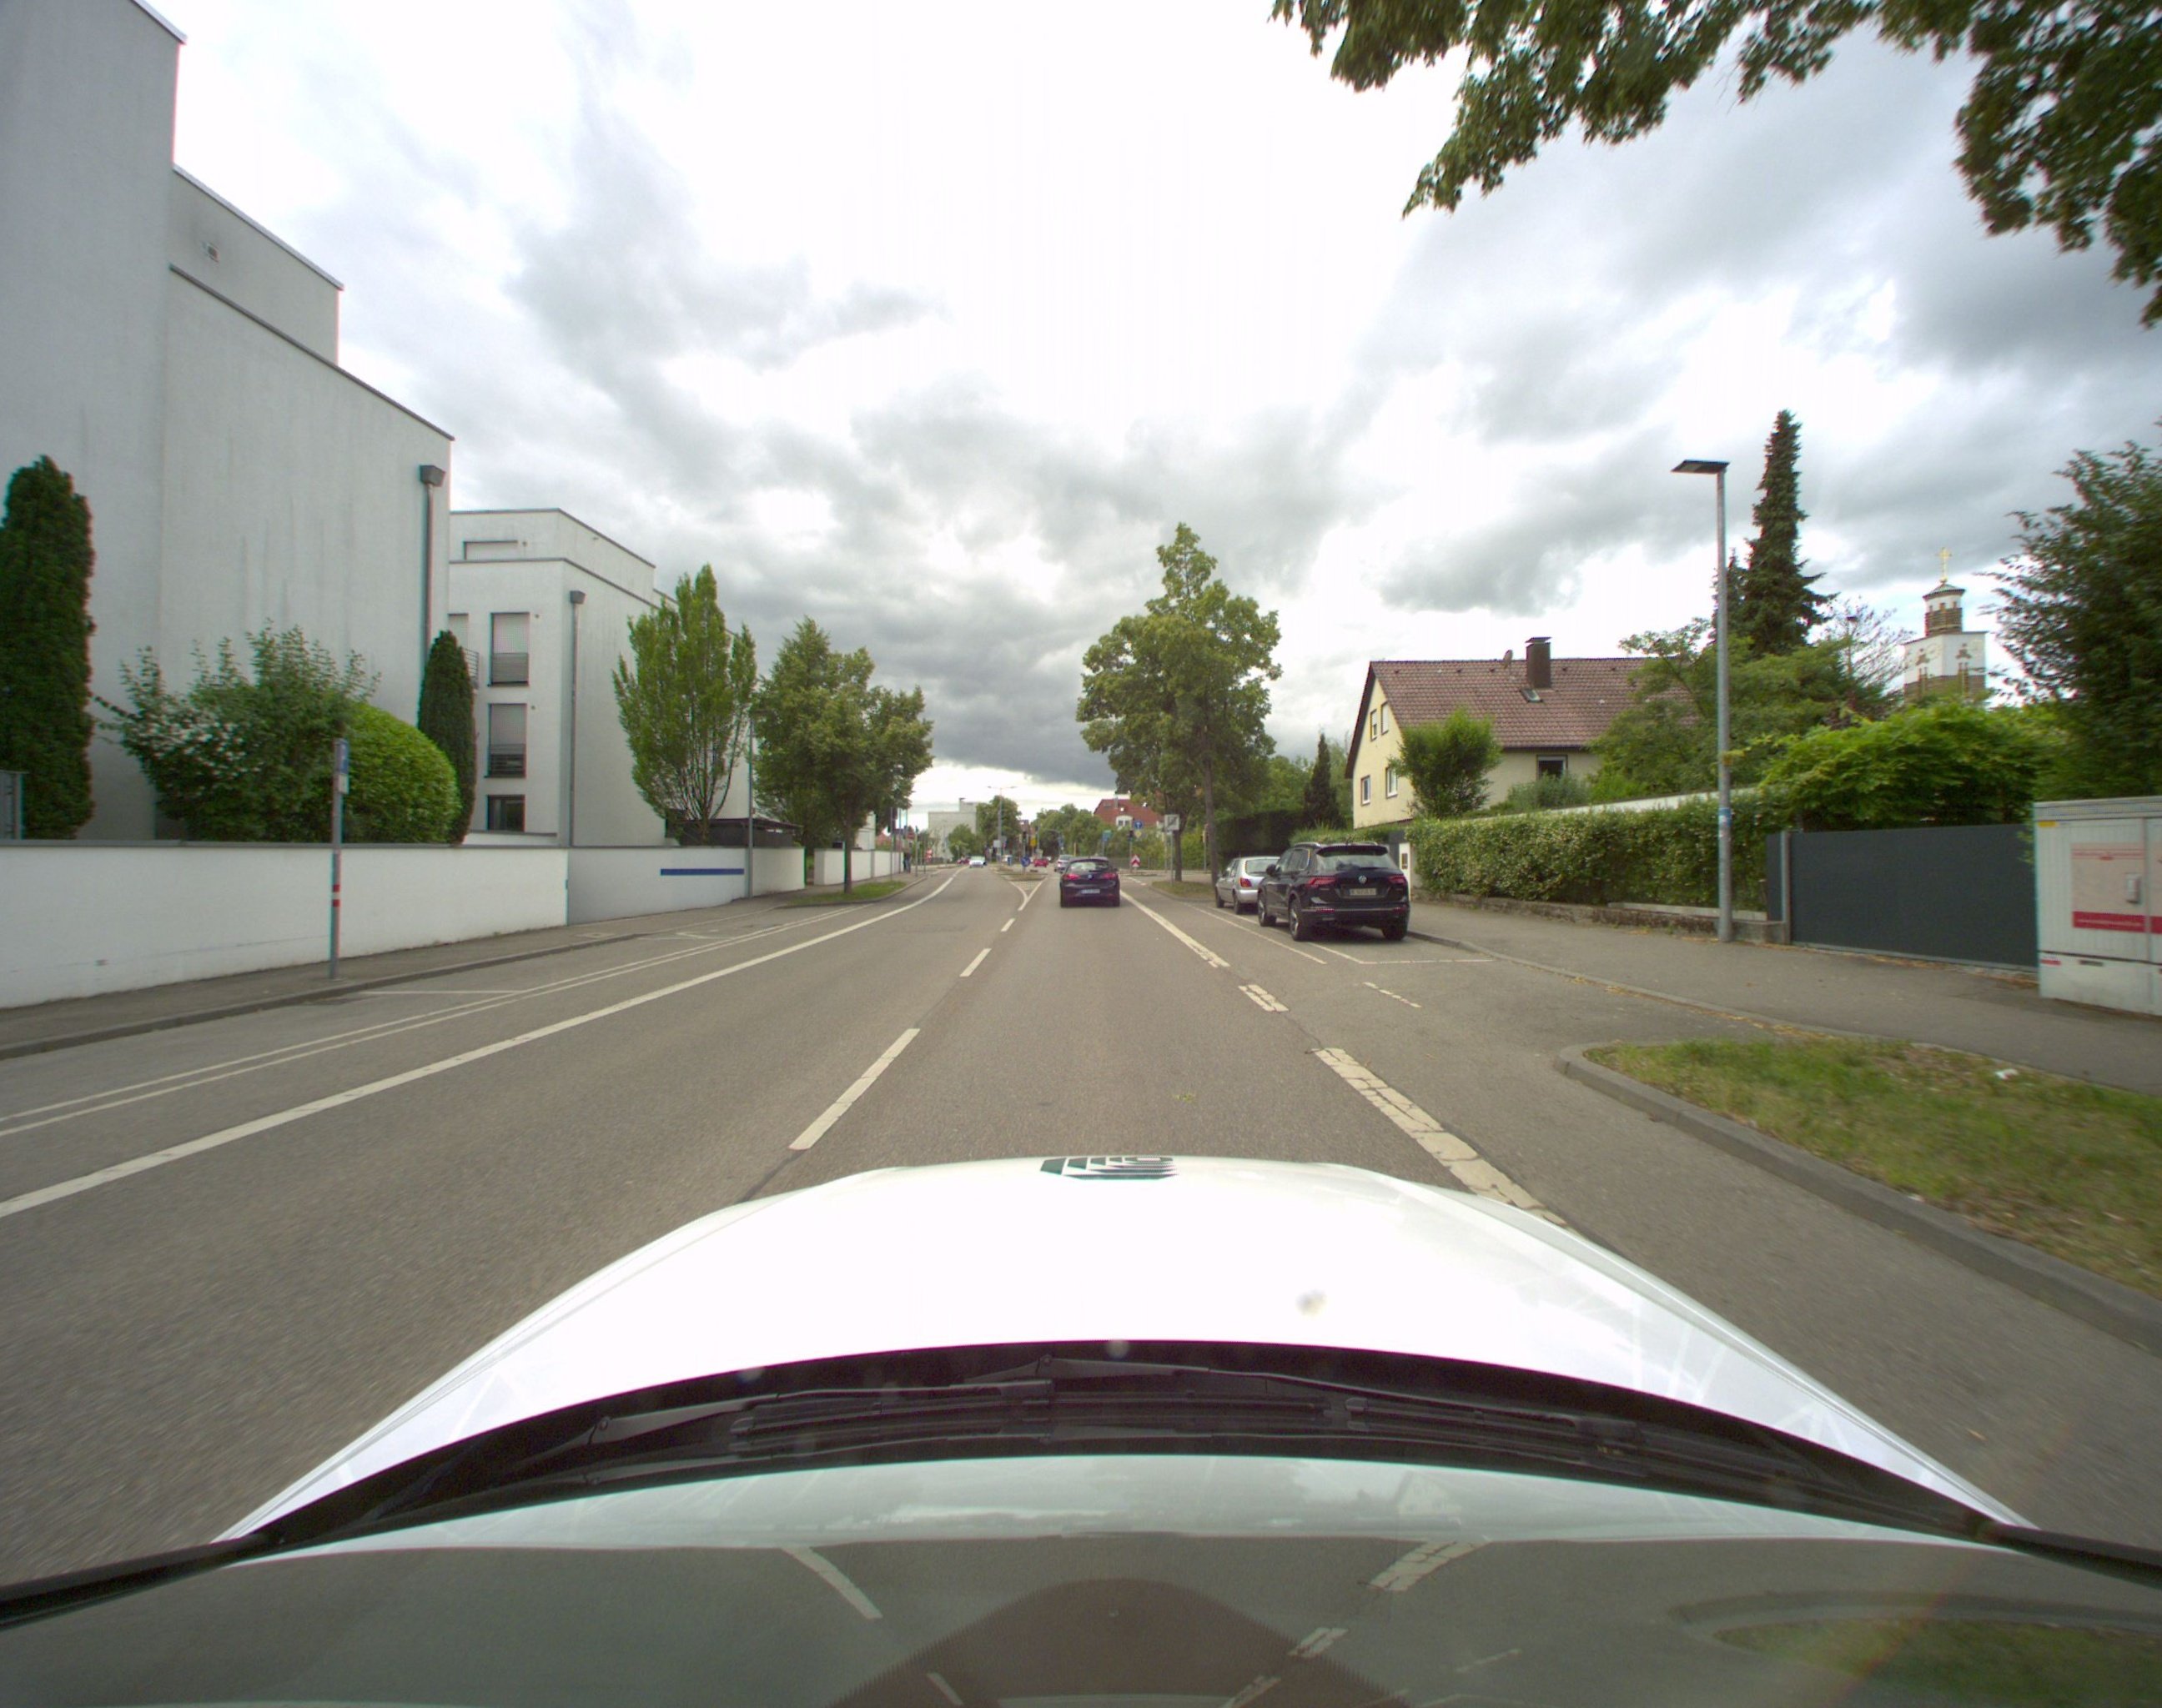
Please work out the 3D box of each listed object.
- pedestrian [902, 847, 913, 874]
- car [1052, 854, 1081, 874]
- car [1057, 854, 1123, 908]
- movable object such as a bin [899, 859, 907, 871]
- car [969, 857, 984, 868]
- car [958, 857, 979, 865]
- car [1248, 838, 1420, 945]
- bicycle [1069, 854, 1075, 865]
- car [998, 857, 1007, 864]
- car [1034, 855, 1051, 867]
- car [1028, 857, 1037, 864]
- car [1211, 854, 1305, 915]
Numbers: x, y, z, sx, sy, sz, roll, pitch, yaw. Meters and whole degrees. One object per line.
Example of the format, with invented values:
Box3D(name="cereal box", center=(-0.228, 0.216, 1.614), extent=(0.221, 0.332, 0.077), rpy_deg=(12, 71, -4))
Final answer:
Box3D(name="pedestrian", center=(-12.911, 0.493, 60.665), extent=(0.647, 1.948, 0.870), rpy_deg=(2, -1, -6))
Box3D(name="car", center=(-1.282, 0.834, 70.902), extent=(1.819, 1.699, 4.238), rpy_deg=(-1, 0, -10))
Box3D(name="car", center=(0.196, 0.749, 24.505), extent=(1.755, 1.449, 3.710), rpy_deg=(-1, 0, -3))
Box3D(name="movable object such as a bin", center=(-14.570, 0.930, 66.830), extent=(0.497, 0.960, 0.983), rpy_deg=(4, -1, -8))
Box3D(name="car", center=(-13.397, 1.099, 104.366), extent=(1.797, 1.444, 3.937), rpy_deg=(-1, 0, -8))
Box3D(name="car", center=(-21.890, 1.331, 158.316), extent=(3.993, 1.552, 1.741), rpy_deg=(0, -1, -14))
Box3D(name="car", center=(4.424, 0.585, 15.008), extent=(1.760, 1.636, 4.547), rpy_deg=(-1, 0, 0))
Box3D(name="bicycle", center=(-1.346, 0.802, 122.095), extent=(0.889, 1.510, 2.782), rpy_deg=(-1, 0, -1))
Box3D(name="car", center=(-14.577, 1.237, 151.292), extent=(1.642, 1.409, 3.808), rpy_deg=(0, -1, -8))
Box3D(name="car", center=(-5.251, 0.958, 111.336), extent=(1.940, 1.481, 4.241), rpy_deg=(-1, 0, -8))
Box3D(name="car", center=(-10.355, 1.376, 173.633), extent=(1.719, 1.448, 4.055), rpy_deg=(0, -1, -8))
Box3D(name="car", center=(4.389, 0.715, 20.674), extent=(1.553, 1.351, 3.539), rpy_deg=(-2, 0, -1))
